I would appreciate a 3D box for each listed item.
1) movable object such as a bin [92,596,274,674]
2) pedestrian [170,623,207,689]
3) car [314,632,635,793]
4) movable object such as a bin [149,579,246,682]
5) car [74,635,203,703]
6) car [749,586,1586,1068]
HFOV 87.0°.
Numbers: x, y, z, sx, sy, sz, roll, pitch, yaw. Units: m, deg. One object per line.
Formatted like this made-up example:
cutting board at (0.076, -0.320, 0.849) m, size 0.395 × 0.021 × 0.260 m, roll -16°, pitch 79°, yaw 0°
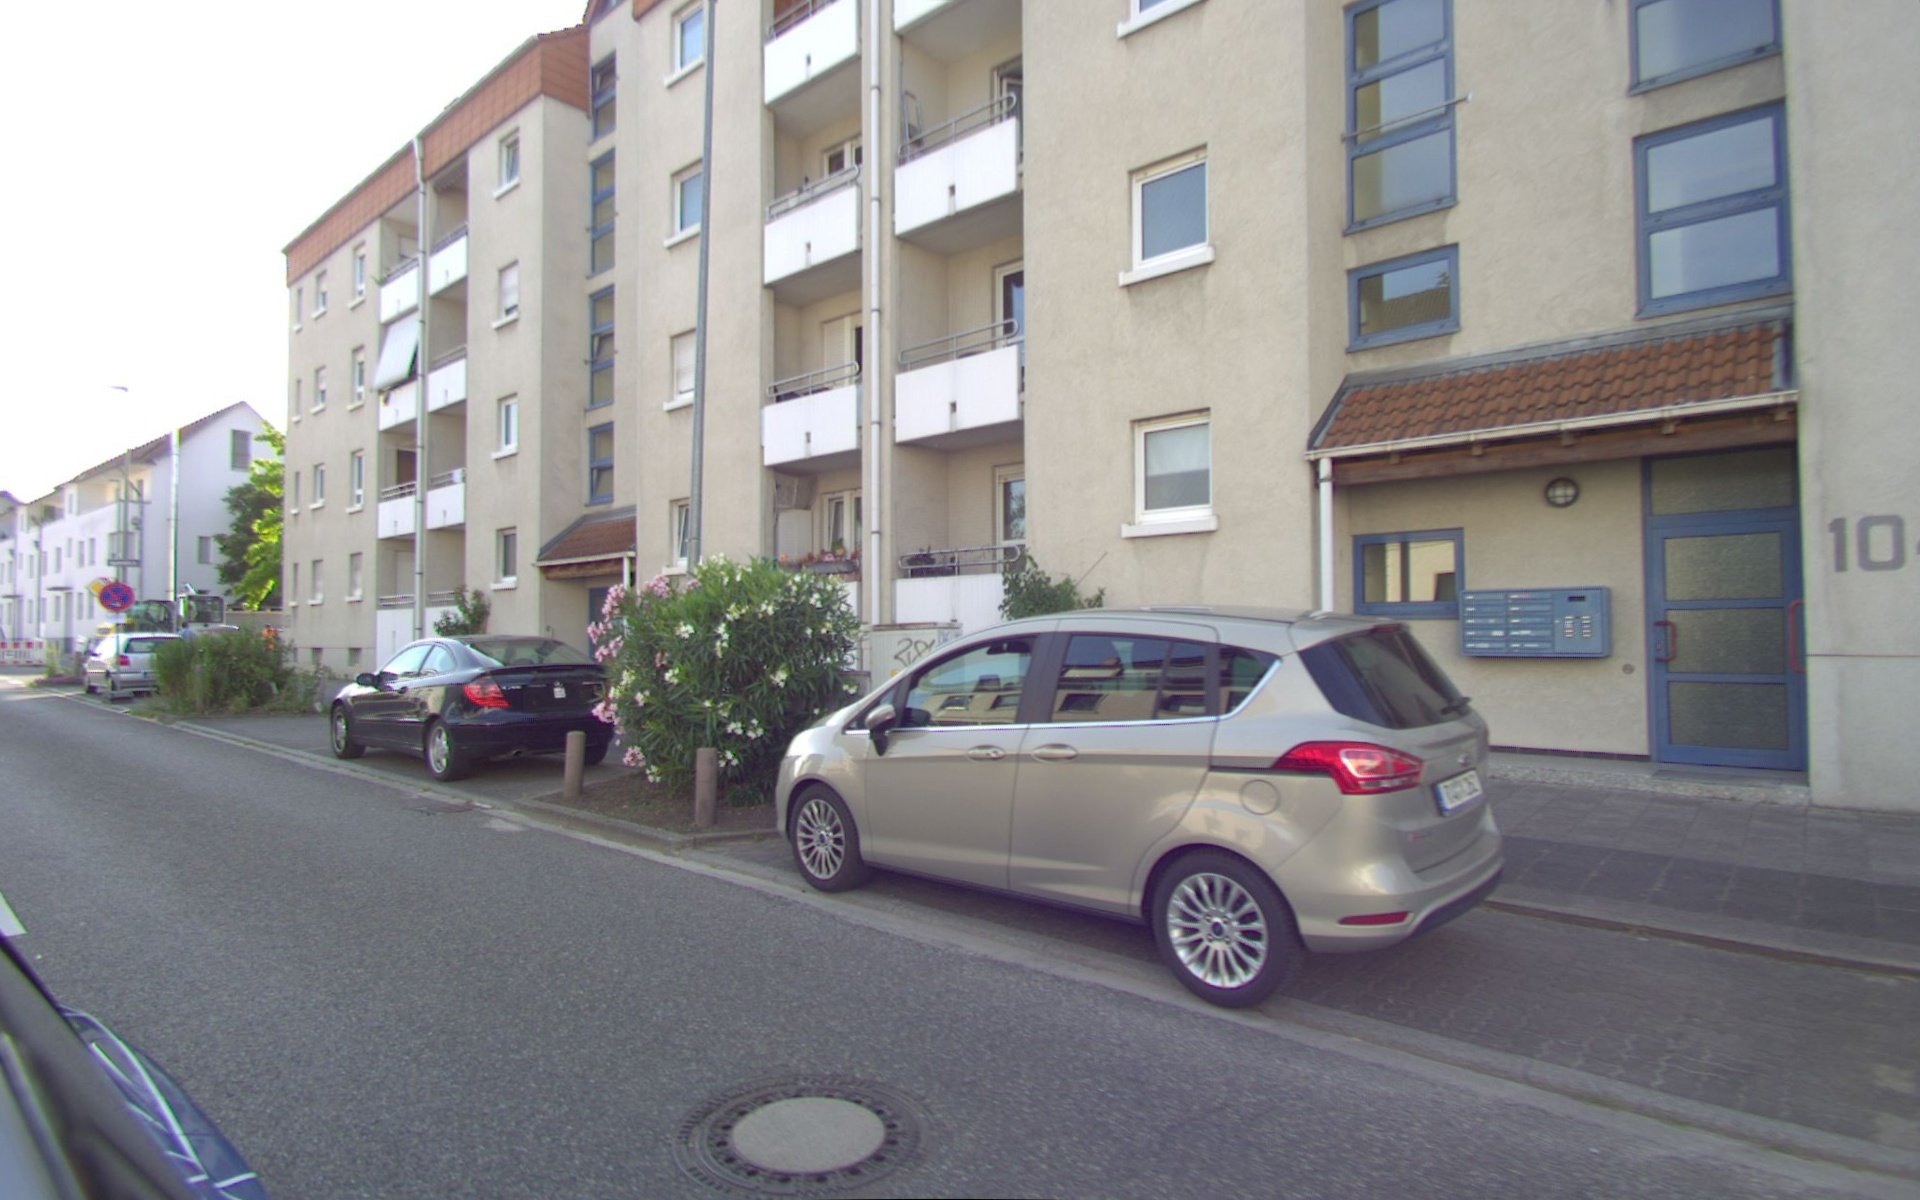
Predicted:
movable object such as a bin at (-31.123, 1.385, 40.743) m, size 2.103 × 2.923 × 5.460 m, roll -2°, pitch -2°, yaw 29°
pedestrian at (-21.929, 1.579, 28.758) m, size 0.745 × 1.832 × 0.711 m, roll -3°, pitch -3°, yaw 41°
car at (-5.421, 1.084, 11.067) m, size 4.081 × 1.416 × 1.668 m, roll -2°, pitch -2°, yaw 41°
movable object such as a bin at (-24.704, 1.017, 32.758) m, size 3.896 × 3.162 × 1.631 m, roll -3°, pitch -3°, yaw 40°
car at (-18.872, 1.527, 23.218) m, size 3.668 × 1.406 × 1.624 m, roll -2°, pitch -2°, yaw 40°
car at (0.779, 0.783, 5.291) m, size 3.965 × 1.567 × 1.708 m, roll -2°, pitch -1°, yaw 43°
